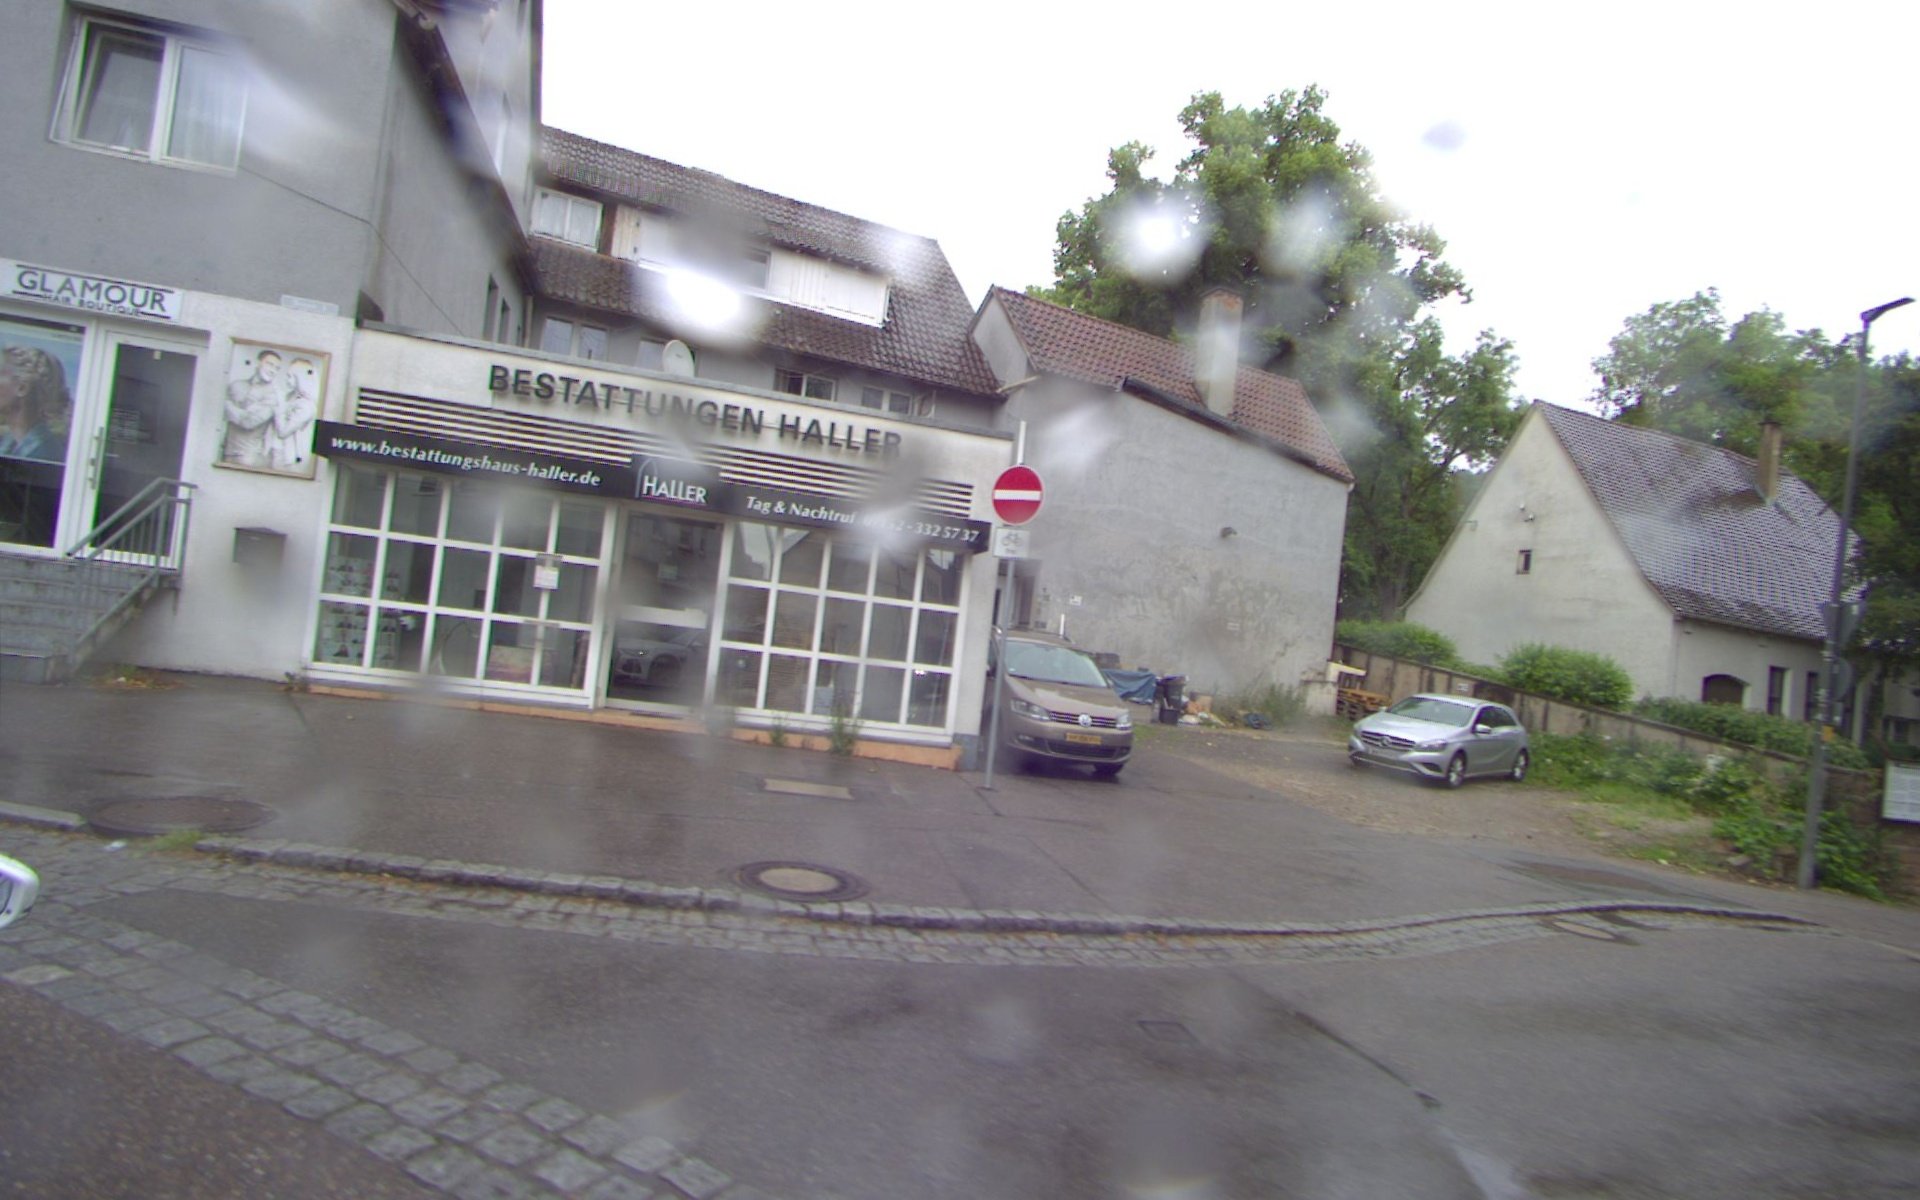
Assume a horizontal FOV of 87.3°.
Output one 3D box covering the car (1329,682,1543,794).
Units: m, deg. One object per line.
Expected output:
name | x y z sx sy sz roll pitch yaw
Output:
car | 8.443 2.384 17.709 3.970 1.493 1.812 6 2 -41

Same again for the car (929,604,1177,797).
car | 1.074 1.235 13.898 1.970 1.794 3.985 9 1 -14
